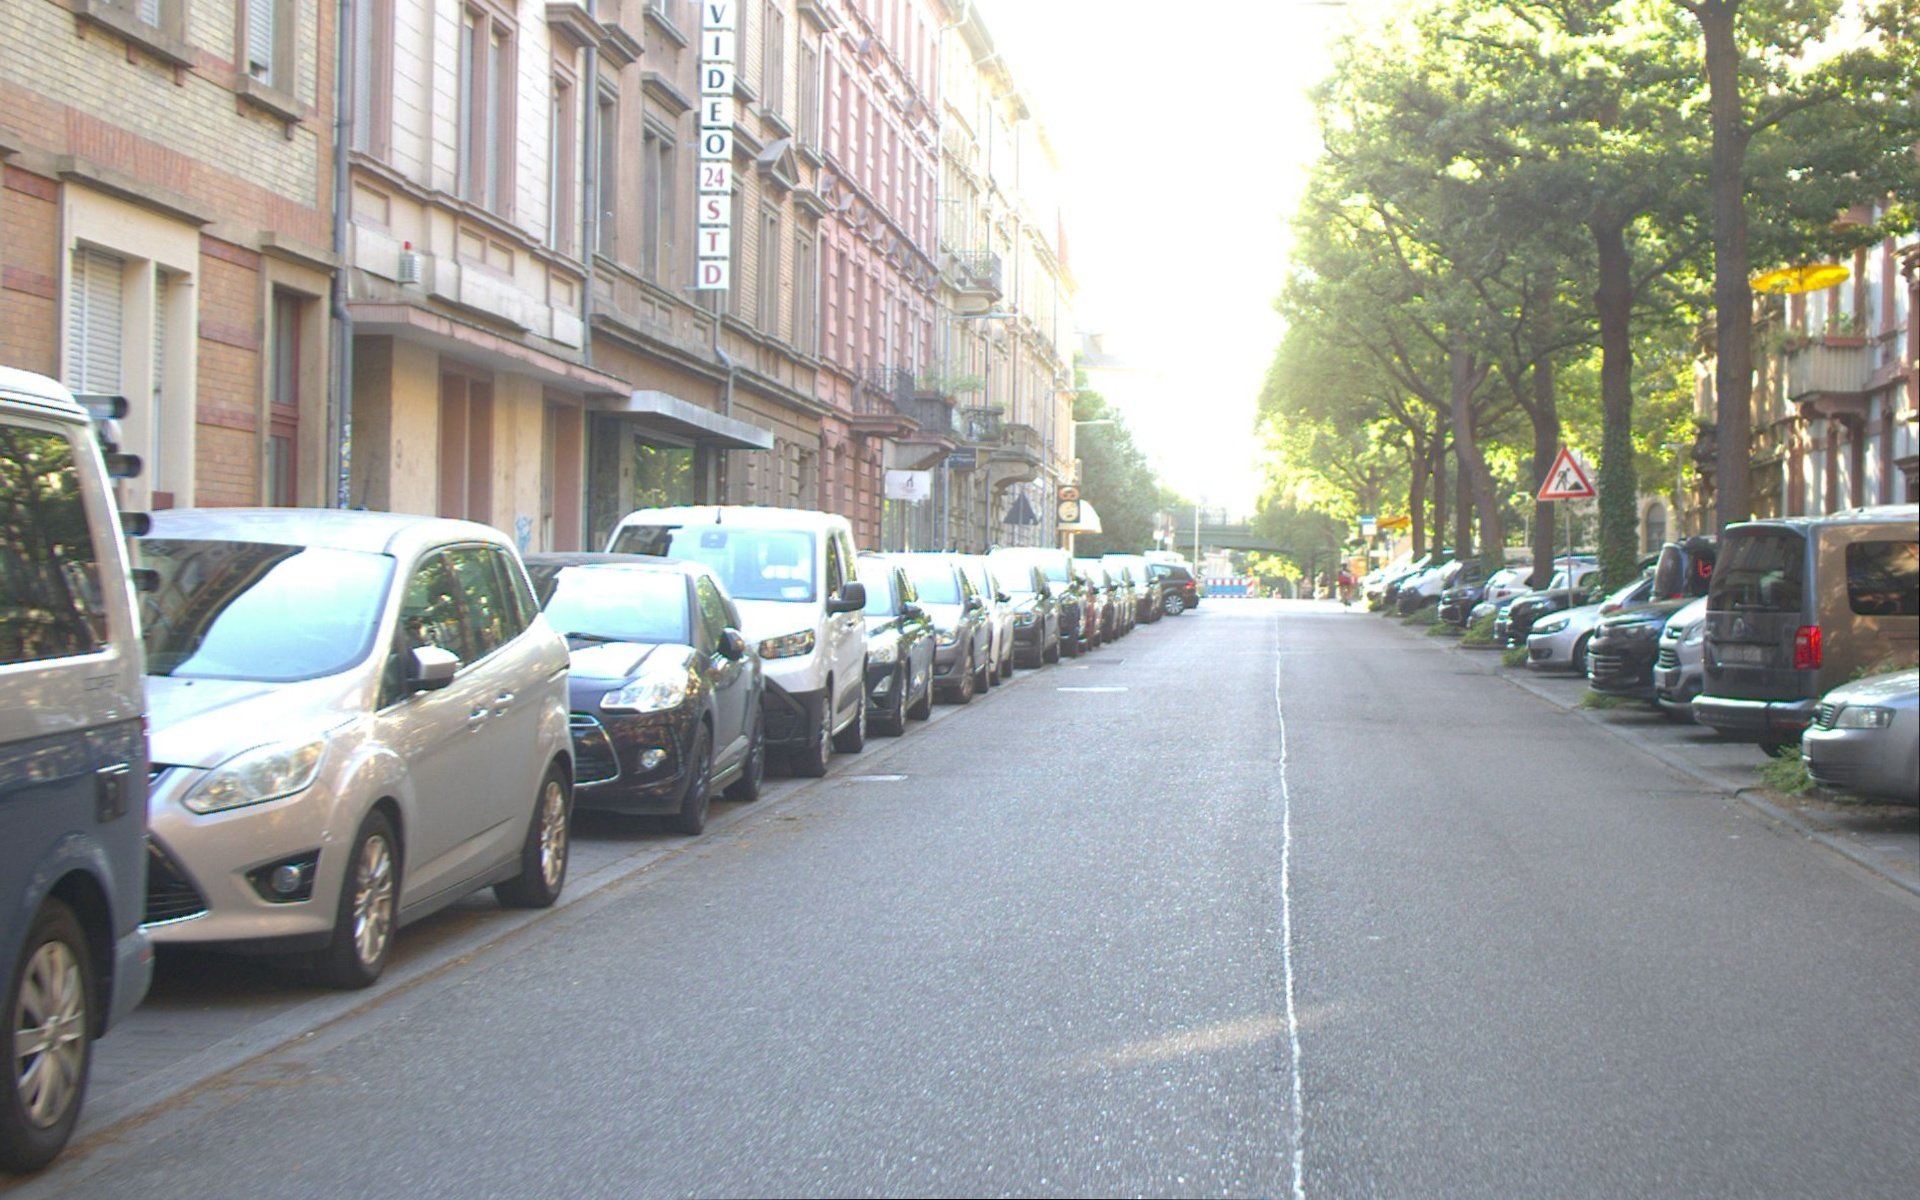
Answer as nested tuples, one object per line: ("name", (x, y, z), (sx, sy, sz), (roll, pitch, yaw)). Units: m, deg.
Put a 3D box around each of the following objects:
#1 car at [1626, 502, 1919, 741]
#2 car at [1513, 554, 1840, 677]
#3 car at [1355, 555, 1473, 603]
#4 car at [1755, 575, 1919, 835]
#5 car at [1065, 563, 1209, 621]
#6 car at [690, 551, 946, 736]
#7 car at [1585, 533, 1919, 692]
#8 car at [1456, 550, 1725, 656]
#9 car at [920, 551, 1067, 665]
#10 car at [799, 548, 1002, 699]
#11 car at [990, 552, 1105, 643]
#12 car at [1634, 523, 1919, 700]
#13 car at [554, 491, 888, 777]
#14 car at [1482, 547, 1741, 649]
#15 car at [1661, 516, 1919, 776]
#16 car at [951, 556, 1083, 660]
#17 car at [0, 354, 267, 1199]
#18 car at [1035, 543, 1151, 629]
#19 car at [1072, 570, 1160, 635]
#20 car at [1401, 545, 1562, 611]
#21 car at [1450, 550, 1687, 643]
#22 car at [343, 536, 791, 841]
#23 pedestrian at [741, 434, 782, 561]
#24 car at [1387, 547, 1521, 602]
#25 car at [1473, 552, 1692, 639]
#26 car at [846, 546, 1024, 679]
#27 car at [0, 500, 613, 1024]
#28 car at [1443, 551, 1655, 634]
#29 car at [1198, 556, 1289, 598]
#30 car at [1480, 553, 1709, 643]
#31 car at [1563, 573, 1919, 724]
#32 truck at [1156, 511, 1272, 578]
("car", (8.270, 0.141, 28.907), (5.058, 1.919, 1.835), (-1, 1, 6))
("car", (9.160, 0.187, 44.162), (3.850, 1.474, 1.718), (-1, 1, 2))
("car", (15.345, -0.718, 116.282), (3.851, 1.568, 1.718), (-1, 1, 5))
("car", (6.888, 0.536, 19.706), (4.221, 1.399, 1.835), (-1, 1, 1))
("car", (4.873, -0.212, 94.292), (1.998, 1.481, 3.991), (0, -1, 38))
("car", (-1.148, 0.322, 29.562), (1.759, 1.468, 4.059), (0, 1, 4))
("car", (9.148, 0.130, 38.882), (3.850, 1.694, 1.718), (-1, 1, 2))
("car", (9.891, 0.033, 54.093), (3.850, 1.568, 1.718), (-1, 1, -2))
("car", (0.495, 0.071, 46.646), (1.759, 1.468, 4.059), (0, 1, 4))
("car", (-0.562, 0.200, 35.697), (1.759, 1.468, 4.059), (0, 1, 4))
("car", (1.501, -0.074, 57.856), (1.759, 1.468, 4.059), (0, 1, 4))
("car", (9.261, 0.103, 36.596), (3.850, 1.791, 1.718), (-1, 1, 2))
("car", (-1.595, 0.185, 24.473), (1.759, 1.835, 4.529), (0, 1, 4))
("car", (10.663, -0.043, 56.435), (3.850, 1.568, 1.718), (-1, 1, -2))
("car", (7.523, 0.276, 25.306), (4.219, 1.789, 1.836), (-1, 1, -14))
("car", (0.892, 0.090, 51.395), (1.759, 1.468, 4.059), (0, 1, 4))
("car", (-3.095, 0.399, 6.902), (1.832, 1.936, 5.259), (3, 1, 5))
("car", (2.496, -0.232, 63.810), (1.994, 1.481, 3.999), (1, -1, 4))
("car", (3.836, 0.082, 83.906), (1.994, 1.481, 3.999), (1, -1, 4))
("car", (13.024, -0.555, 86.061), (3.851, 1.568, 1.718), (-1, 1, 5))
("car", (10.836, -0.073, 61.369), (3.850, 1.568, 1.718), (-1, 1, -2))
("car", (-2.096, 0.422, 19.443), (1.759, 1.462, 4.000), (3, 1, 4))
("pedestrian", (-2.940, -1.518, 50.874), (0.499, 1.855, 0.463), (2, 1, 5))
("car", (14.819, -0.779, 103.274), (3.851, 1.568, 1.718), (-1, 1, 5))
("car", (11.983, -0.096, 66.295), (3.850, 1.568, 1.718), (-1, 1, -2))
("car", (-0.242, 0.112, 40.157), (1.759, 1.468, 4.059), (0, 1, 4))
("car", (-2.639, 0.472, 13.094), (1.754, 1.603, 4.383), (3, 1, 5))
("car", (11.689, -0.160, 68.368), (3.850, 1.568, 1.718), (-1, 1, -2))
("car", (13.404, -1.085, 162.534), (3.989, 1.853, 1.750), (2, 1, 14))
("car", (11.734, -0.053, 63.697), (3.850, 1.568, 1.718), (-1, 1, -2))
("car", (7.669, 0.428, 31.921), (3.850, 1.289, 1.718), (-1, 1, 2))
("truck", (16.481, -3.576, 222.609), (7.222, 3.936, 2.437), (2, 1, -31))
